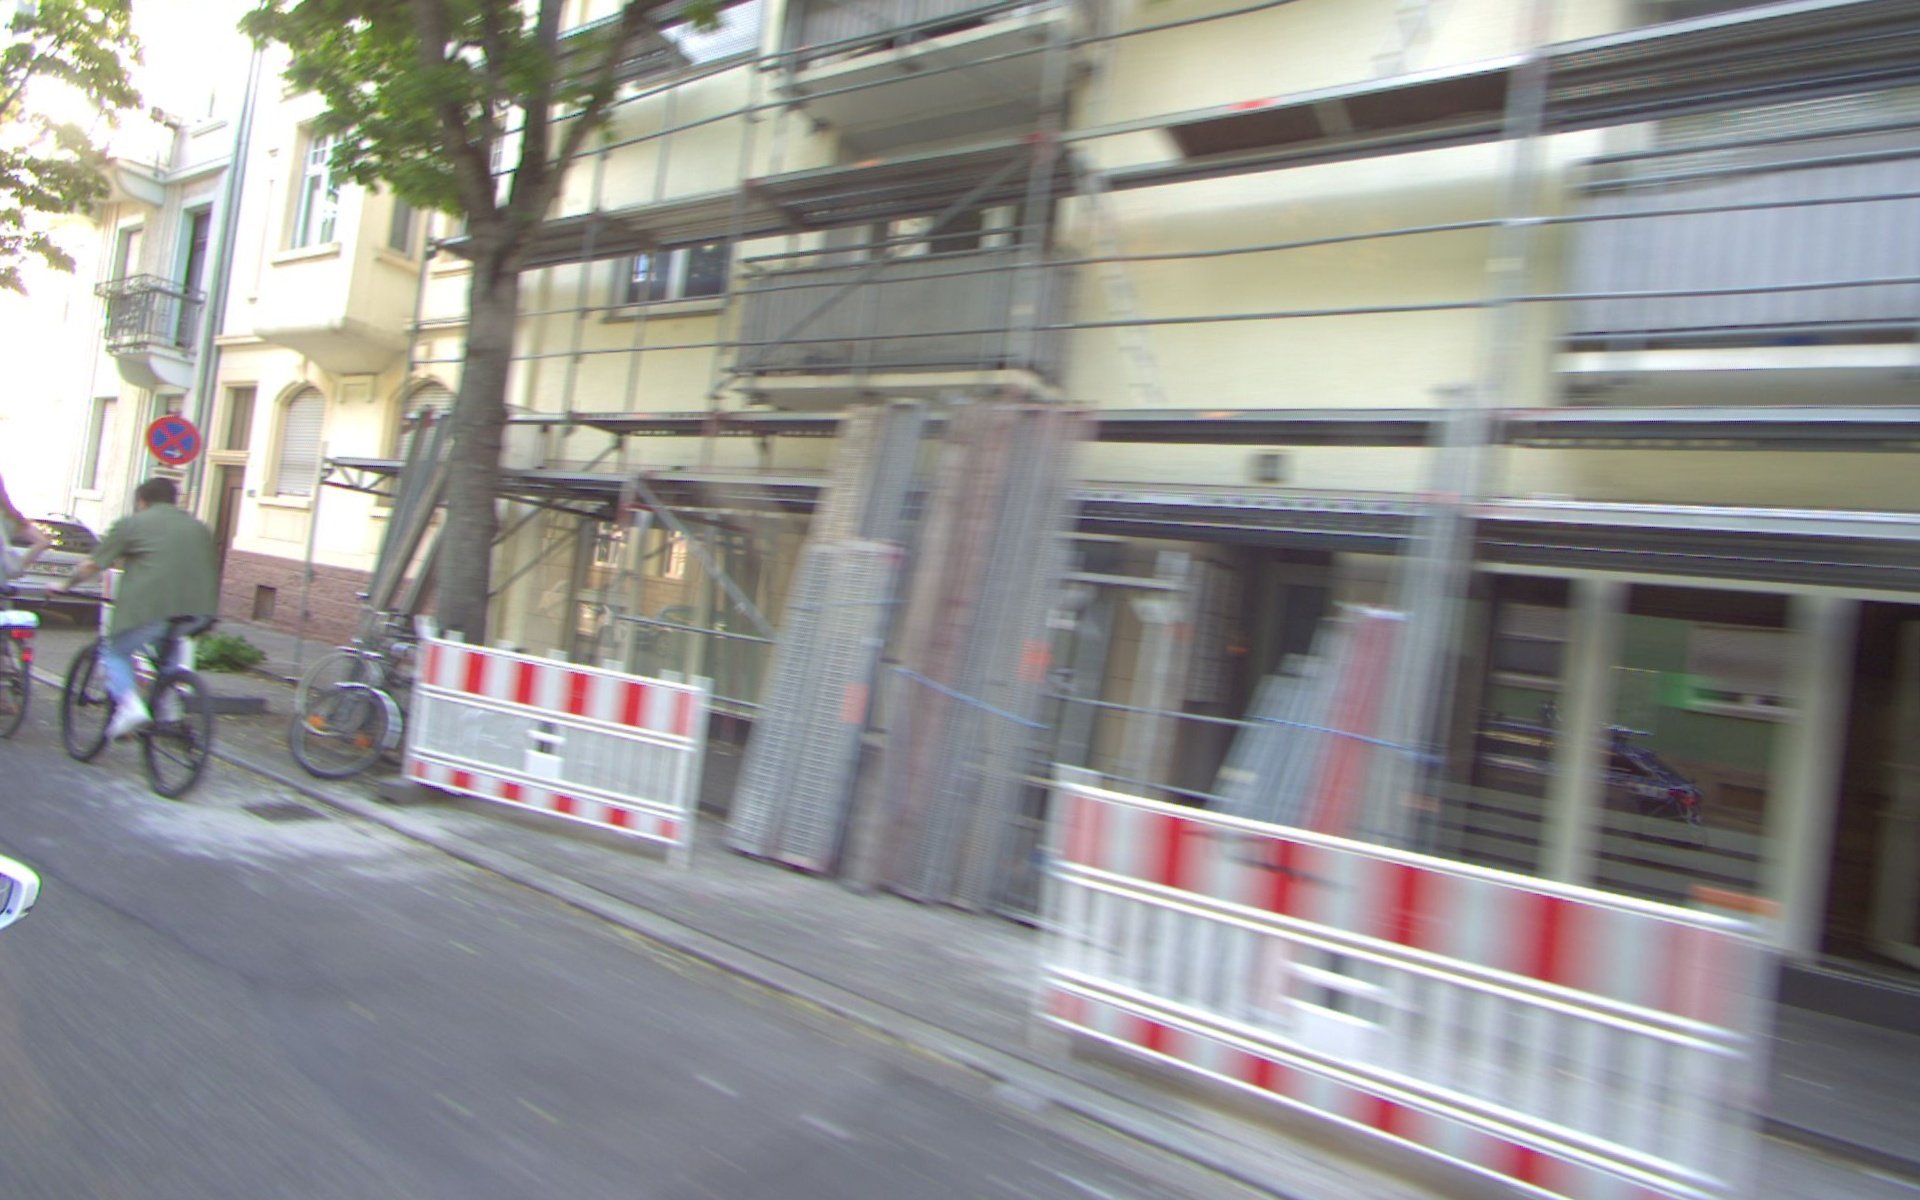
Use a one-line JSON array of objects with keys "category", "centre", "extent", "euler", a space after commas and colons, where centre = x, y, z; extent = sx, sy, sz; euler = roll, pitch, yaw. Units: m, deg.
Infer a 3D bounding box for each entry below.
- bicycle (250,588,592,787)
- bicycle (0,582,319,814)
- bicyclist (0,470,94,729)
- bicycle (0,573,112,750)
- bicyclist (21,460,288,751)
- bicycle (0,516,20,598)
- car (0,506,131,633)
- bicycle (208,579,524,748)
[{"category": "bicycle", "centre": [-3.731, 0.630, 7.123], "extent": [1.908, 1.134, 0.742], "euler": [9, -2, -28]}, {"category": "bicycle", "centre": [-4.837, 0.553, 6.054], "extent": [1.826, 1.071, 0.741], "euler": [6, -3, 28]}, {"category": "bicyclist", "centre": [-6.808, -0.043, 6.955], "extent": [0.964, 1.706, 0.717], "euler": [7, -4, 28]}, {"category": "bicycle", "centre": [-6.798, 0.344, 6.918], "extent": [1.826, 1.056, 0.709], "euler": [7, -5, 28]}, {"category": "bicyclist", "centre": [-4.867, 0.042, 6.099], "extent": [0.964, 1.582, 0.758], "euler": [7, -2, 28]}, {"category": "bicycle", "centre": [-16.329, -0.810, 16.027], "extent": [0.576, 1.320, 1.763], "euler": [7, -2, 31]}, {"category": "car", "centre": [-13.239, -0.554, 13.694], "extent": [4.357, 1.439, 1.682], "euler": [7, 0, 33]}, {"category": "bicycle", "centre": [-4.753, 0.553, 8.172], "extent": [0.737, 1.134, 1.975], "euler": [7, -3, 43]}]
